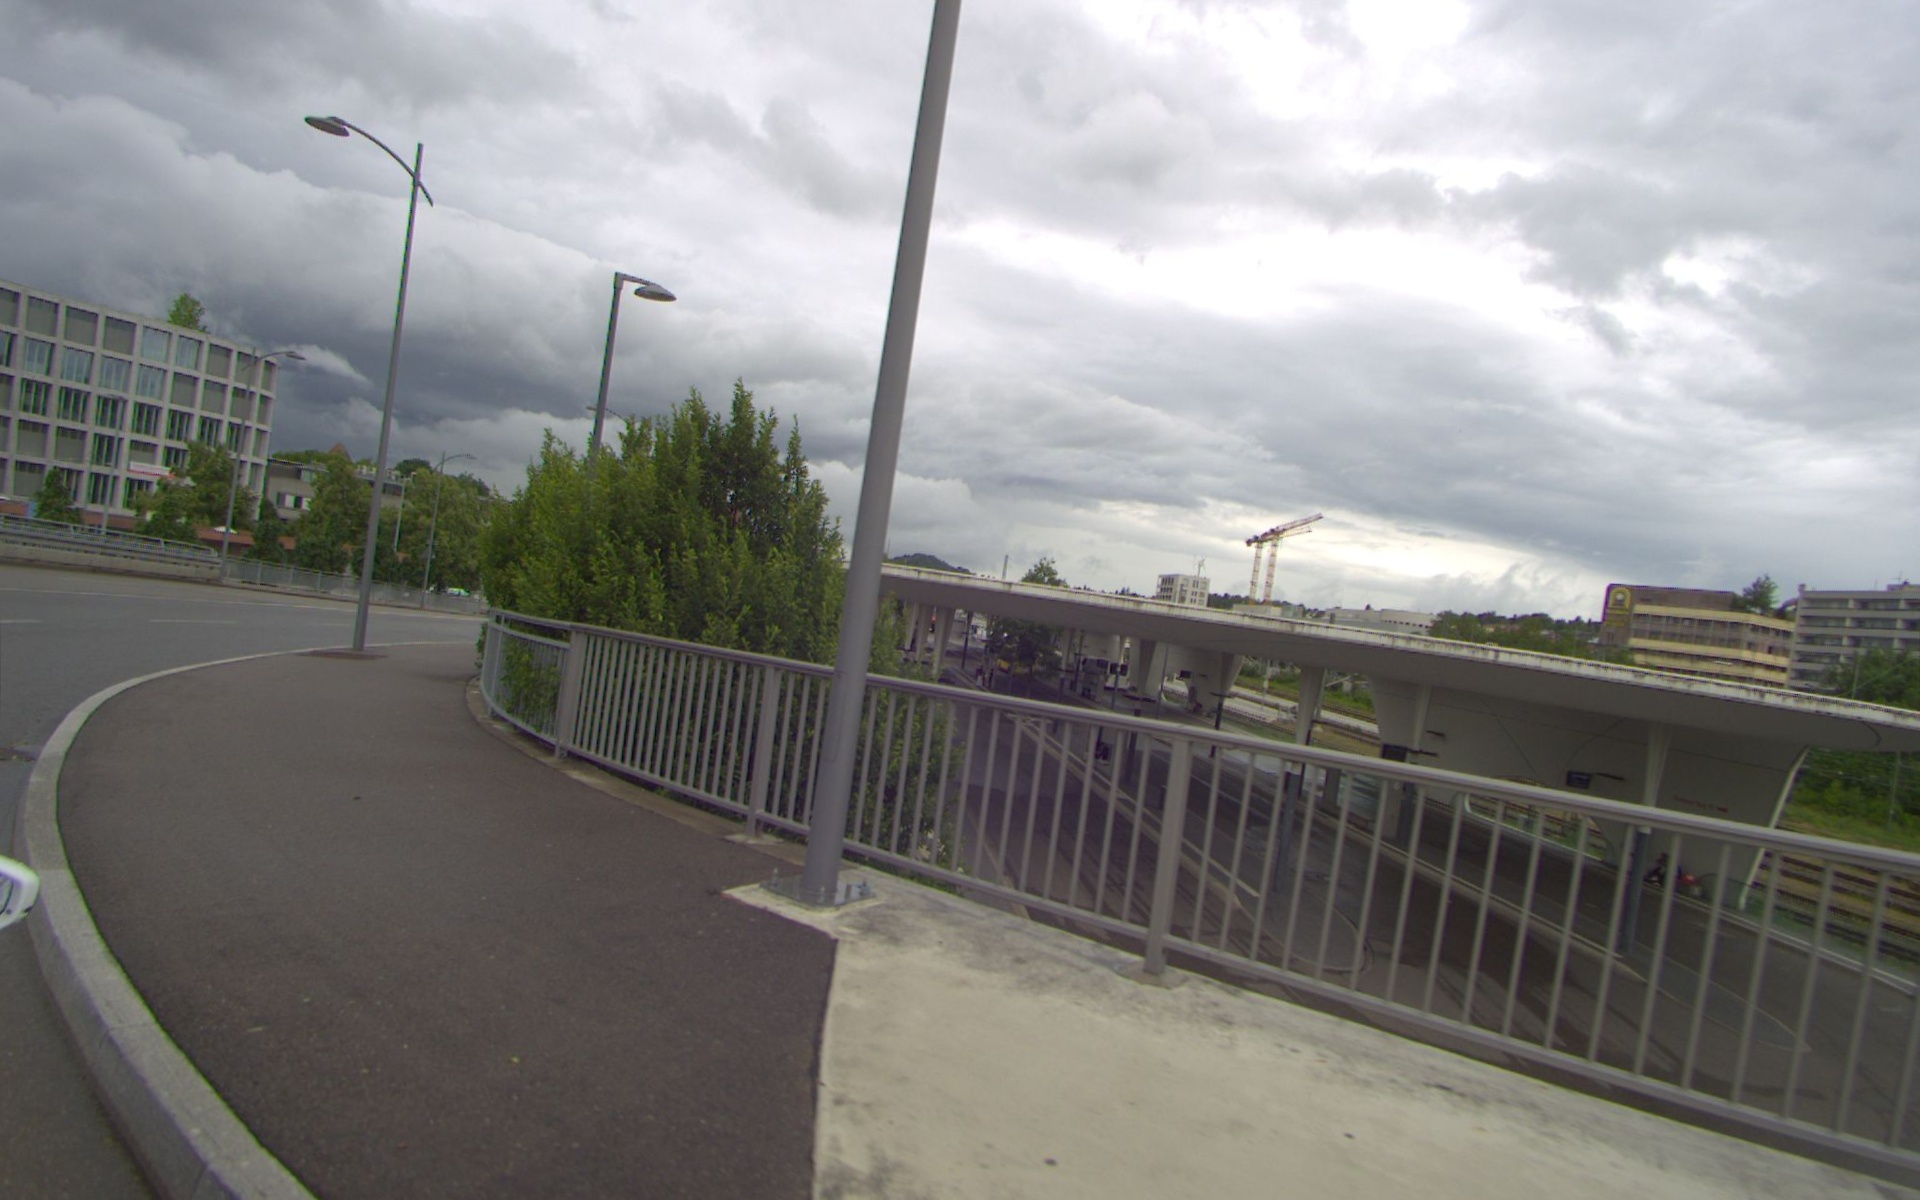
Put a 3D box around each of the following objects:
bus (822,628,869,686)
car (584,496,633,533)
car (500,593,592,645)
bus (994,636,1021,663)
[{"bbox_3d":[-8.418,4.068,73.394,2.611,3.276,7.054,9,1,-10],"label":"bus"},{"bbox_3d":[-21.313,-5.156,61.071,1.736,1.451,4.000,10,-3,-6],"label":"car"},{"bbox_3d":[-14.555,0.699,35.562,1.682,1.434,3.726,11,-2,-4],"label":"car"},{"bbox_3d":[6.609,6.908,141.640,2.563,3.247,6.991,8,-1,-4],"label":"bus"}]
